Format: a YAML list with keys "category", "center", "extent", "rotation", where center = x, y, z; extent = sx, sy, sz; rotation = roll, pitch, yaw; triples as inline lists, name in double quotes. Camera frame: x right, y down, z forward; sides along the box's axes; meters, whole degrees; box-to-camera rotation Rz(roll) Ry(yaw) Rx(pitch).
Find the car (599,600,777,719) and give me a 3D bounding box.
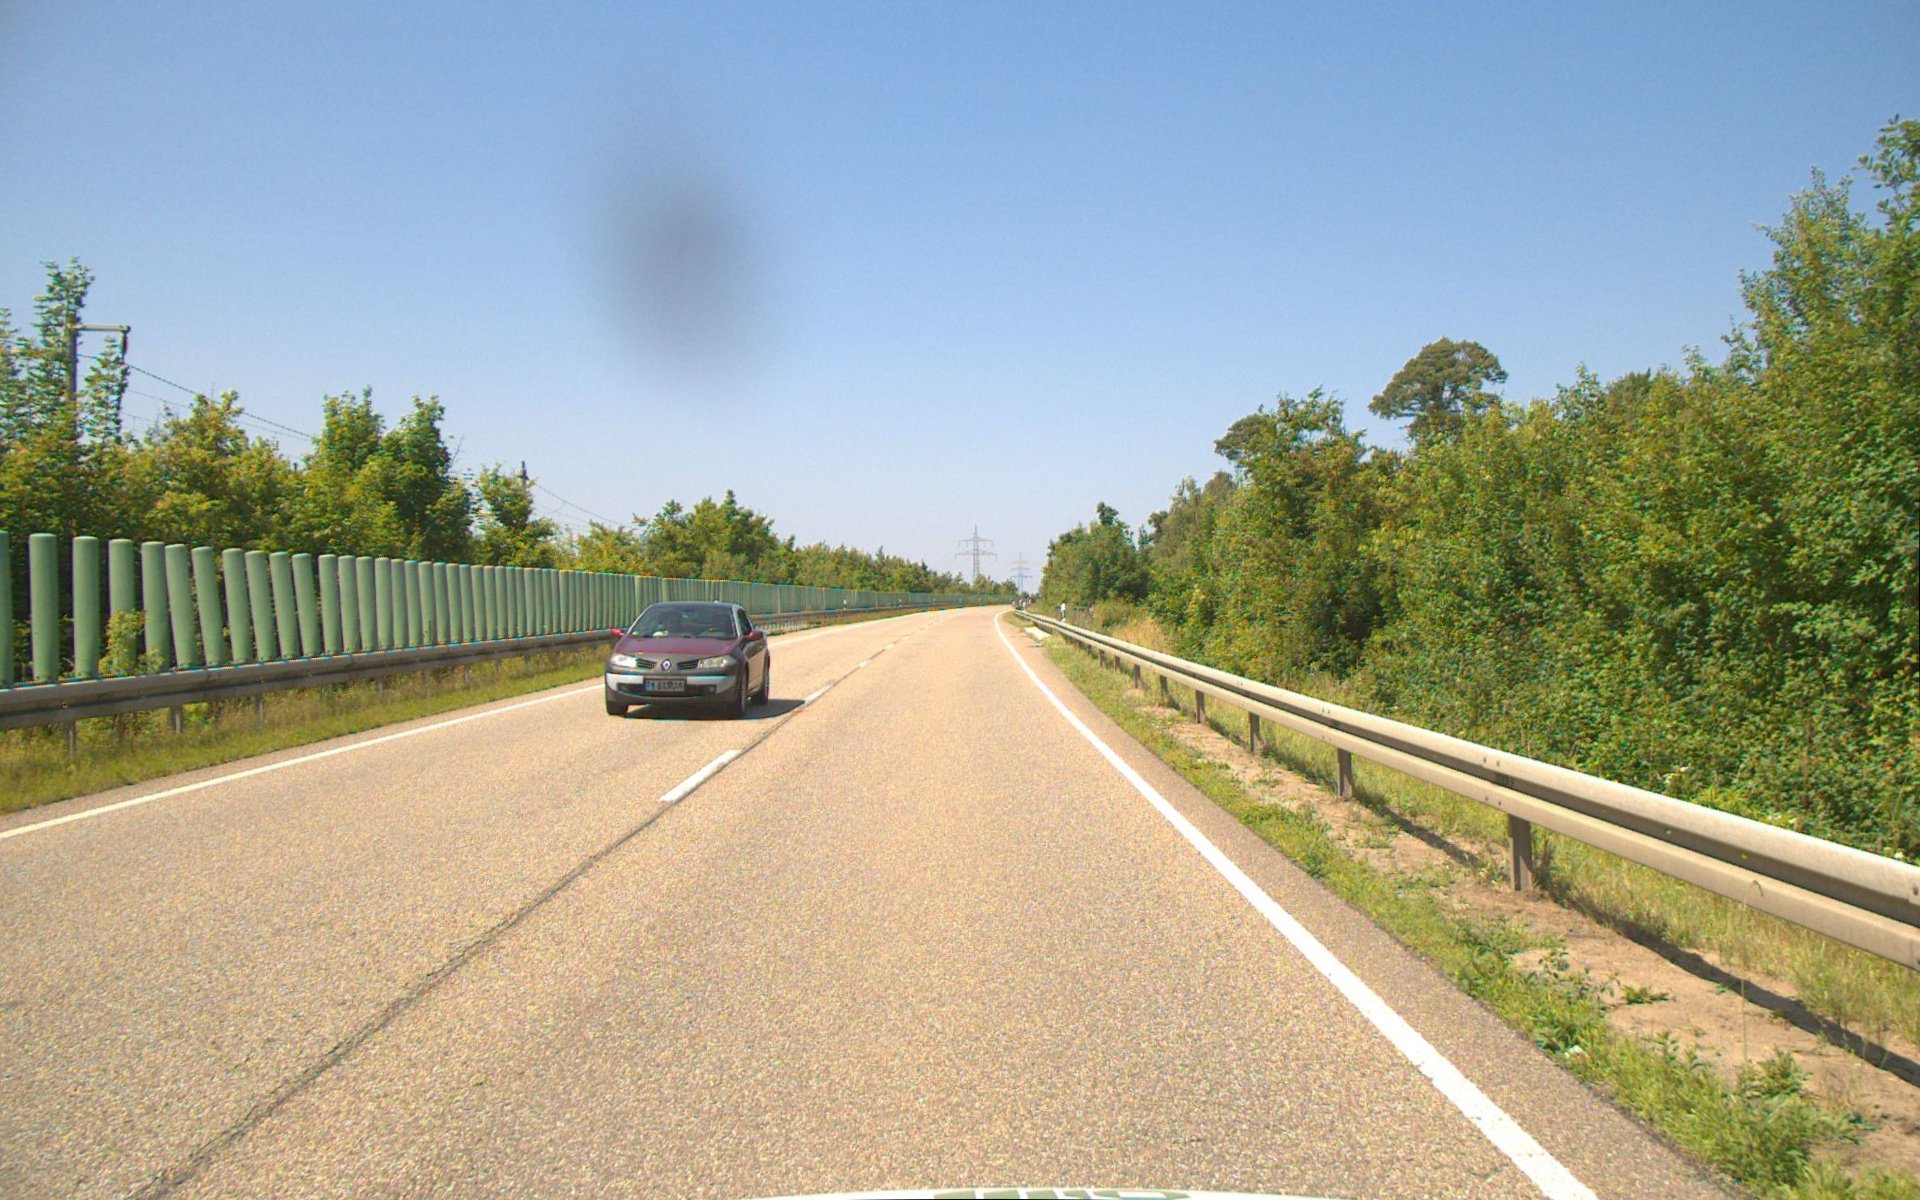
- category: "car"
  center: [-3.485, 0.717, 21.836]
  extent: [1.750, 1.395, 3.896]
  rotation: [1, 0, -1]
